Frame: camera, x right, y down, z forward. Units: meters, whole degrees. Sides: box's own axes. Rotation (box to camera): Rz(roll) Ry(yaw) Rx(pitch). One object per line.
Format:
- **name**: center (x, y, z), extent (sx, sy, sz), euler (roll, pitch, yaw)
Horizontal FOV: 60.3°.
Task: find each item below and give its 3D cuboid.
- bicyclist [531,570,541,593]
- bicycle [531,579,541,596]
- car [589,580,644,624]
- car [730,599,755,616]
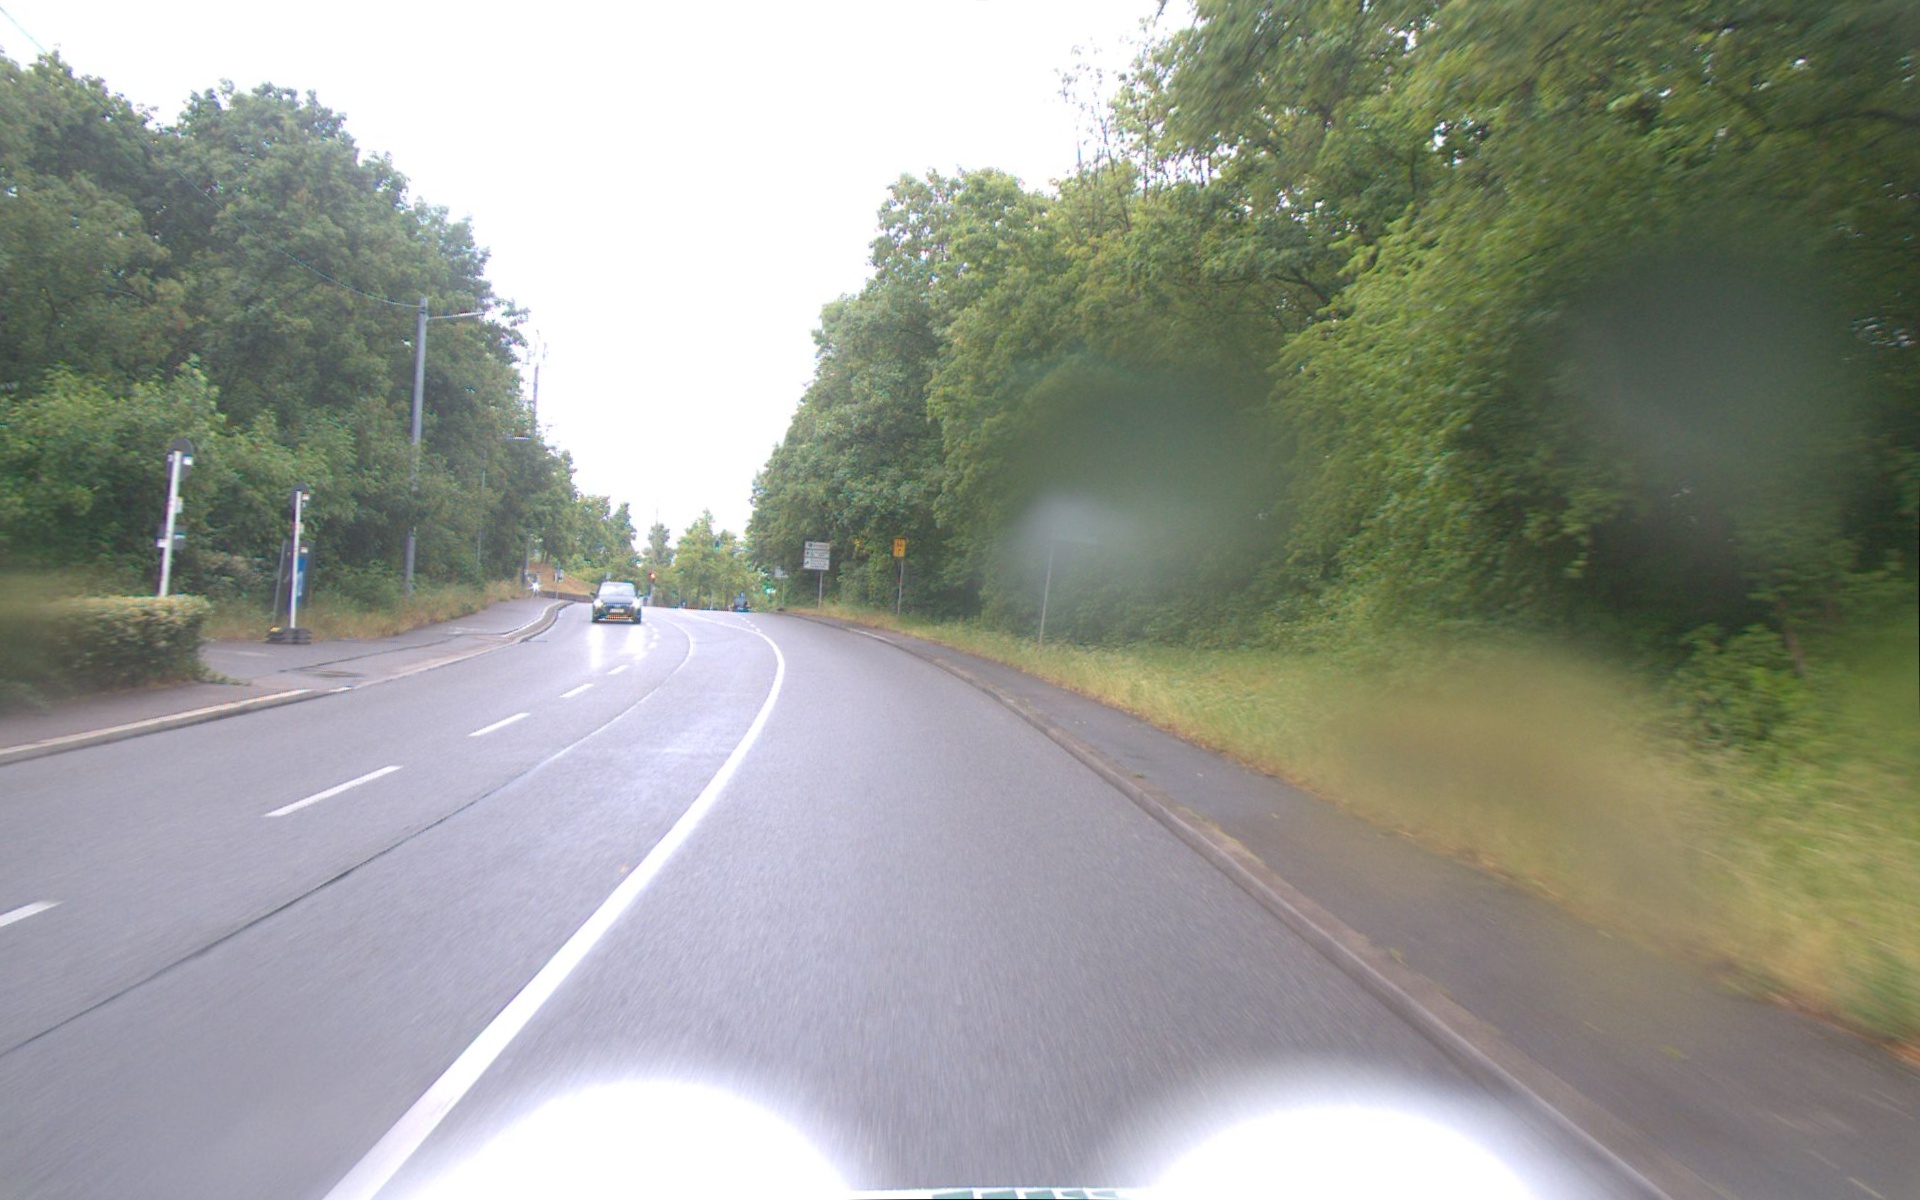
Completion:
- **bicyclist**: center (-32.144, -1.396, 125.501), extent (0.692, 1.673, 0.948), euler (2, 0, -14)
- **bicycle**: center (-32.164, -0.924, 125.495), extent (0.692, 1.264, 2.157), euler (2, 0, -14)
- **car**: center (-12.757, 0.034, 61.520), extent (1.900, 1.524, 4.306), euler (2, 0, -11)
- **car**: center (-21.087, 0.682, 160.363), extent (1.896, 1.524, 4.317), euler (2, 0, -1)
